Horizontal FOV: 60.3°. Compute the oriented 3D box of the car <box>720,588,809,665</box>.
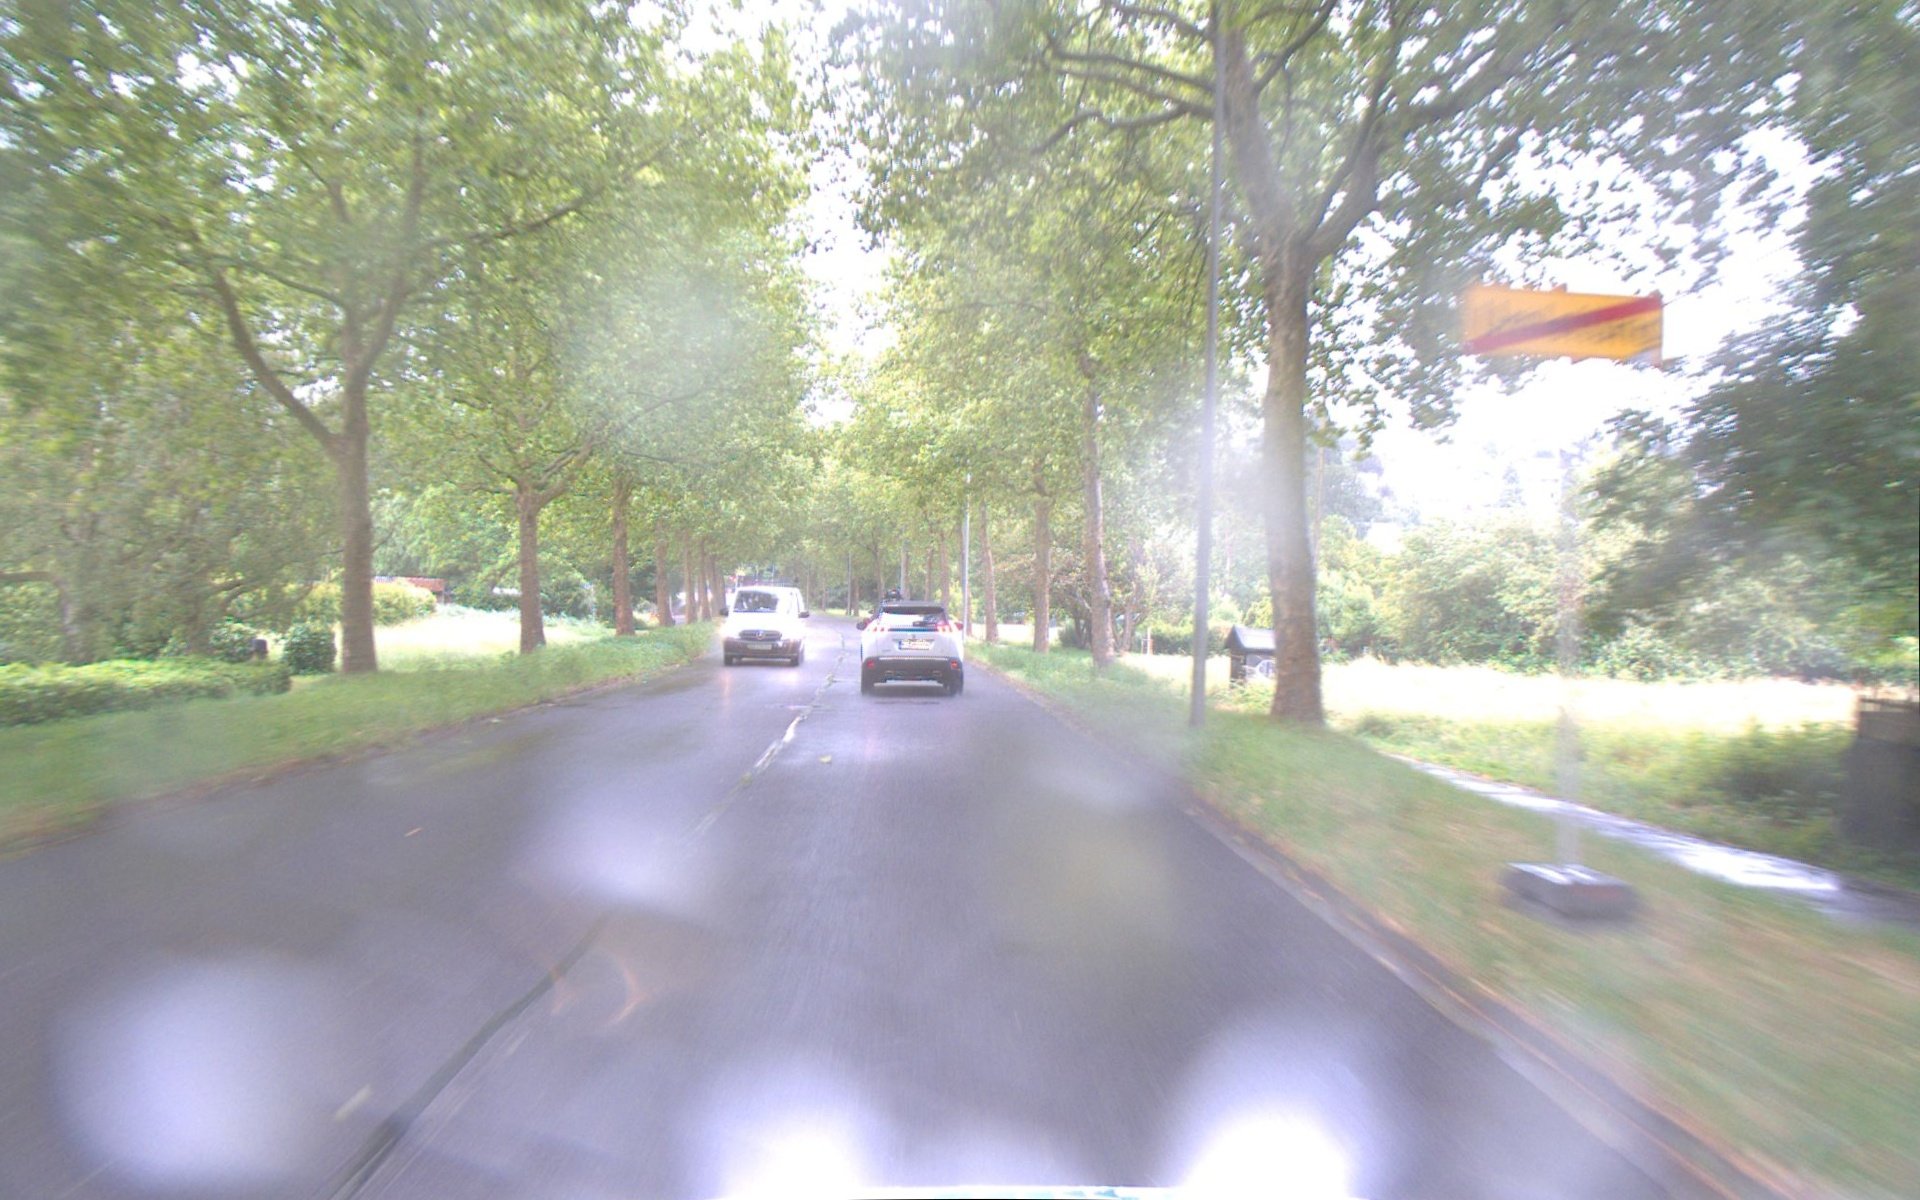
[{"bbox_3d":[-4.846,0.633,41.505,1.825,1.780,5.012,2,0,-3],"label":"car"}]

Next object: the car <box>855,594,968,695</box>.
[{"bbox_3d":[-0.788,0.728,29.099,1.757,1.606,3.844,2,0,1],"label":"car"}]

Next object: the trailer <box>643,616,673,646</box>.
[{"bbox_3d":[-27.858,2.833,152.631,2.438,2.612,5.322,2,0,-8],"label":"trailer"}]
